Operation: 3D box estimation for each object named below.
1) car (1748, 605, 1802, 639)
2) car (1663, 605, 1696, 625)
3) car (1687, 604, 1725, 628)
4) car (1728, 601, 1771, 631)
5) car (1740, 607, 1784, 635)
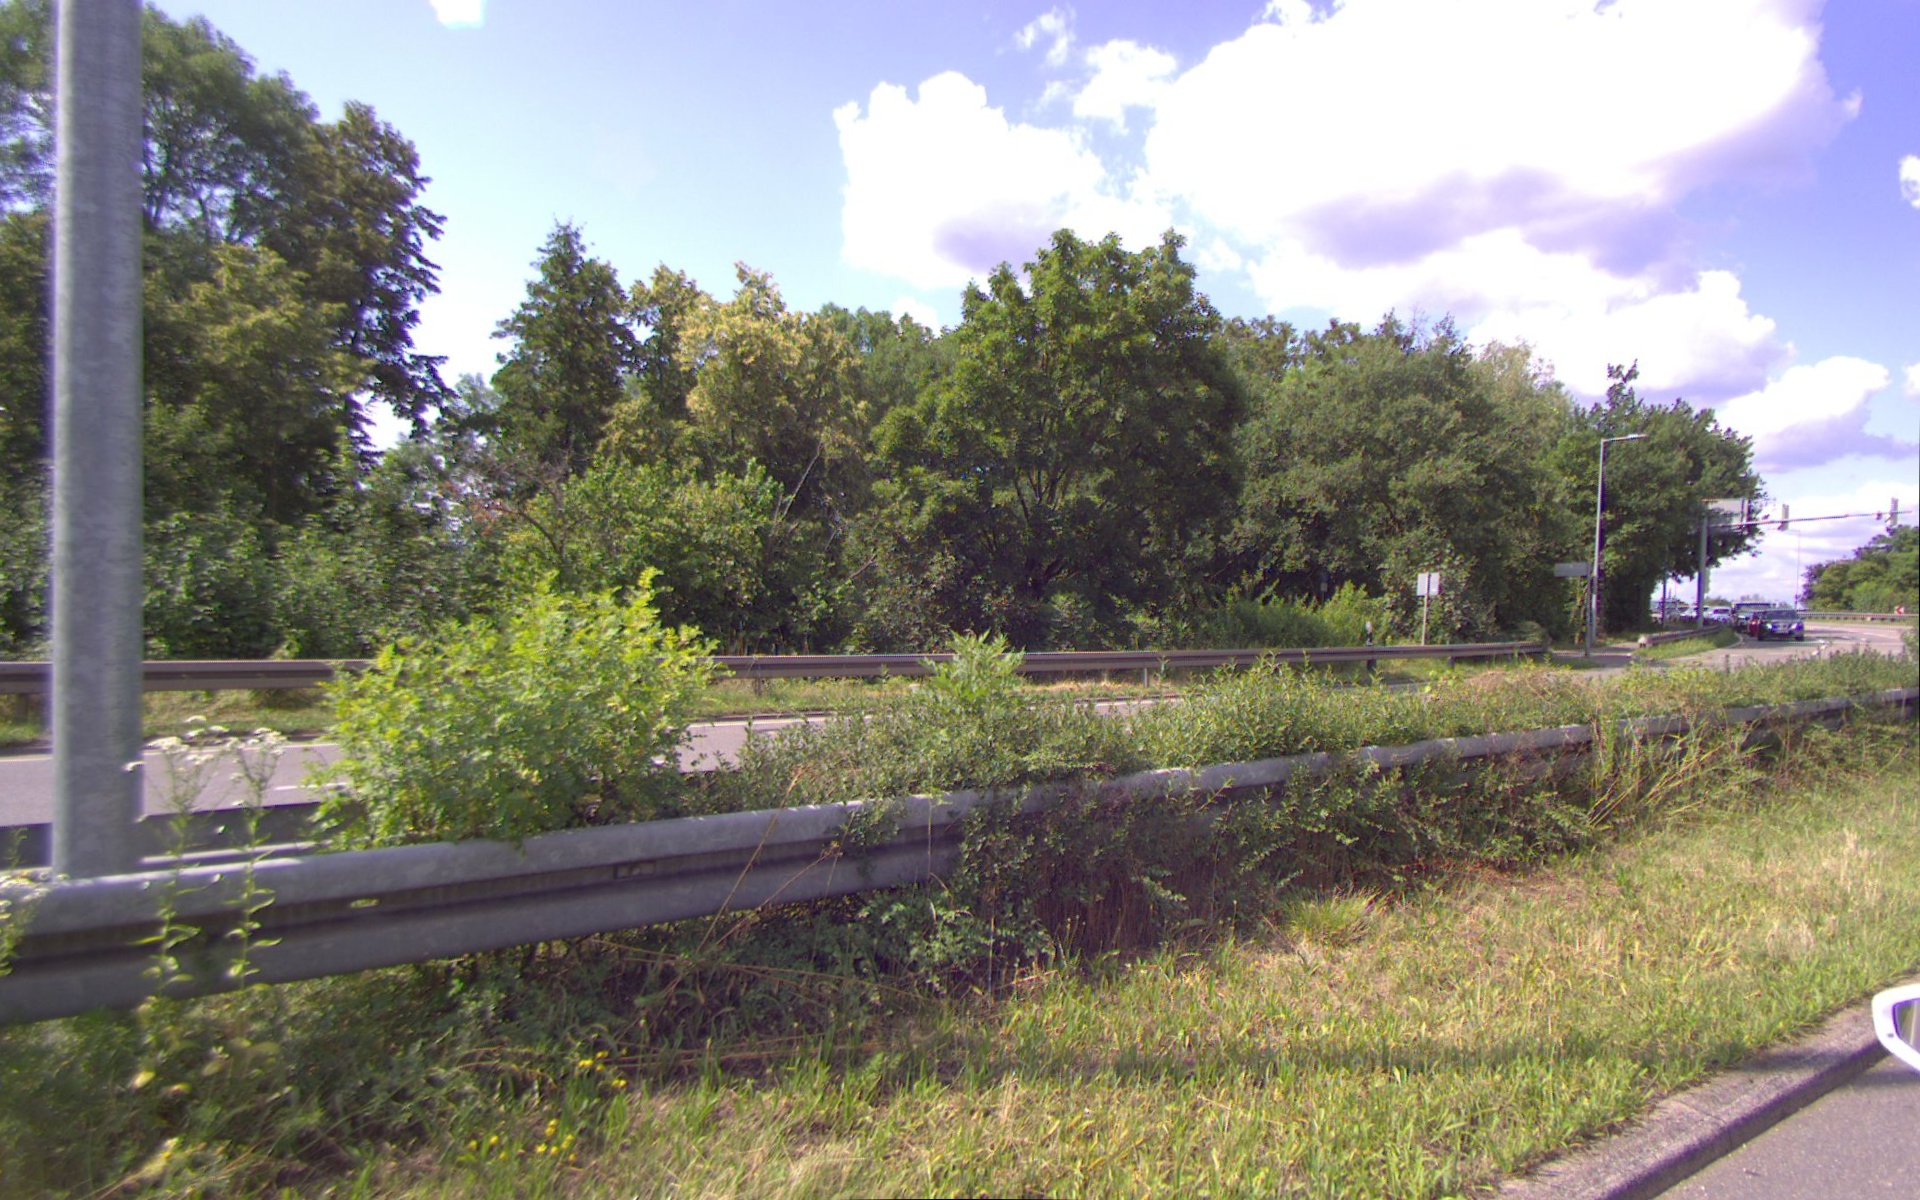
[{"bbox_3d":[41.758,1.158,51.525,1.814,1.639,3.988,1,-1,35],"label":"car"},{"bbox_3d":[64.218,1.334,89.712,1.815,1.728,4.320,1,0,28],"label":"car"},{"bbox_3d":[57.663,1.207,77.679,1.816,1.728,4.318,1,0,30],"label":"car"},{"bbox_3d":[50.118,1.001,63.835,1.818,1.826,4.313,1,0,35],"label":"car"},{"bbox_3d":[46.423,1.187,58.202,1.708,1.496,4.034,1,0,35],"label":"car"}]
